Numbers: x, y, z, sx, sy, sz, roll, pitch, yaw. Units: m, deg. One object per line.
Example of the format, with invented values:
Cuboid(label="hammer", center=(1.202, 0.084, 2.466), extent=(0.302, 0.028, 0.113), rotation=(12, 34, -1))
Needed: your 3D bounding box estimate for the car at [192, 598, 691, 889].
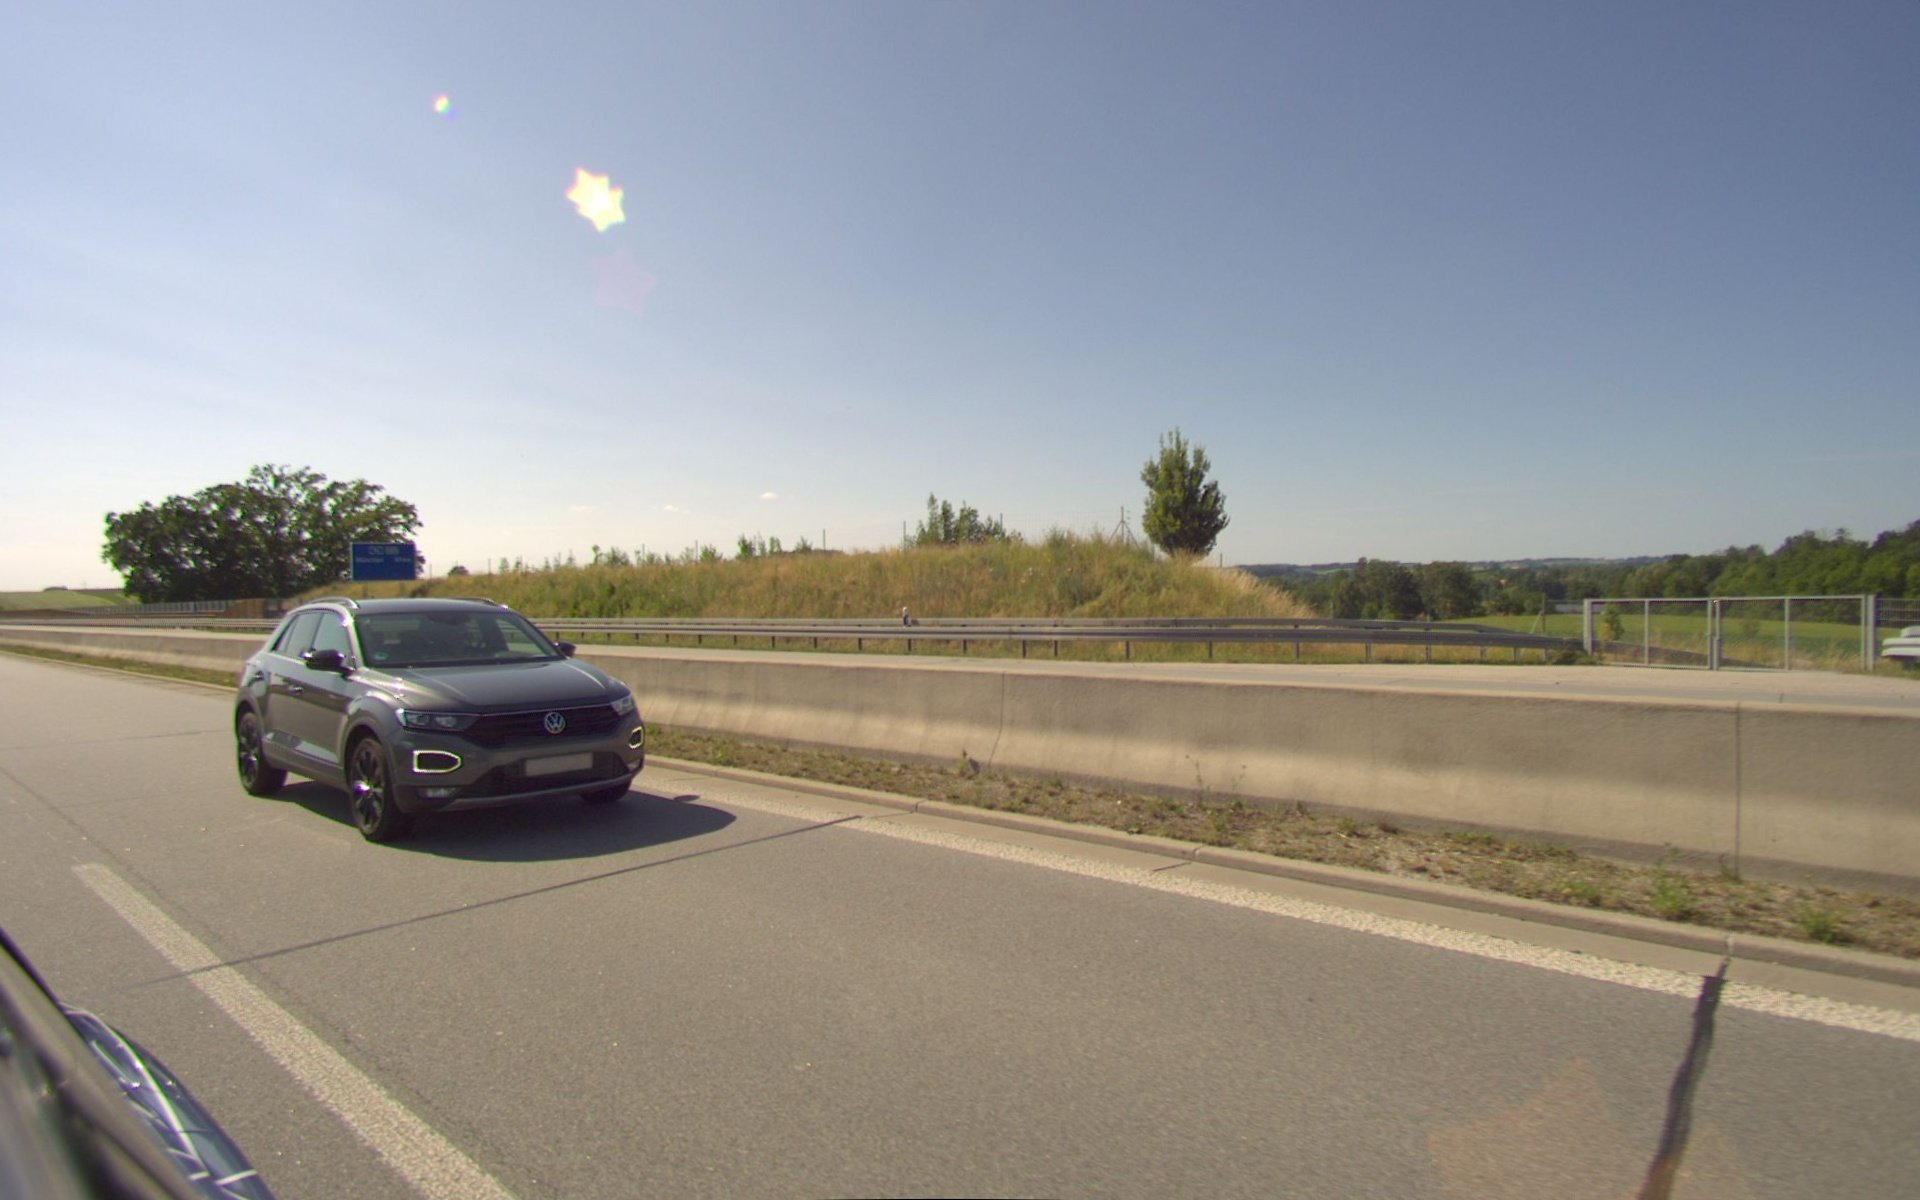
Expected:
Cuboid(label="car", center=(-4.276, 0.832, 7.867), extent=(4.986, 1.581, 1.753), rotation=(-1, -1, 41))
